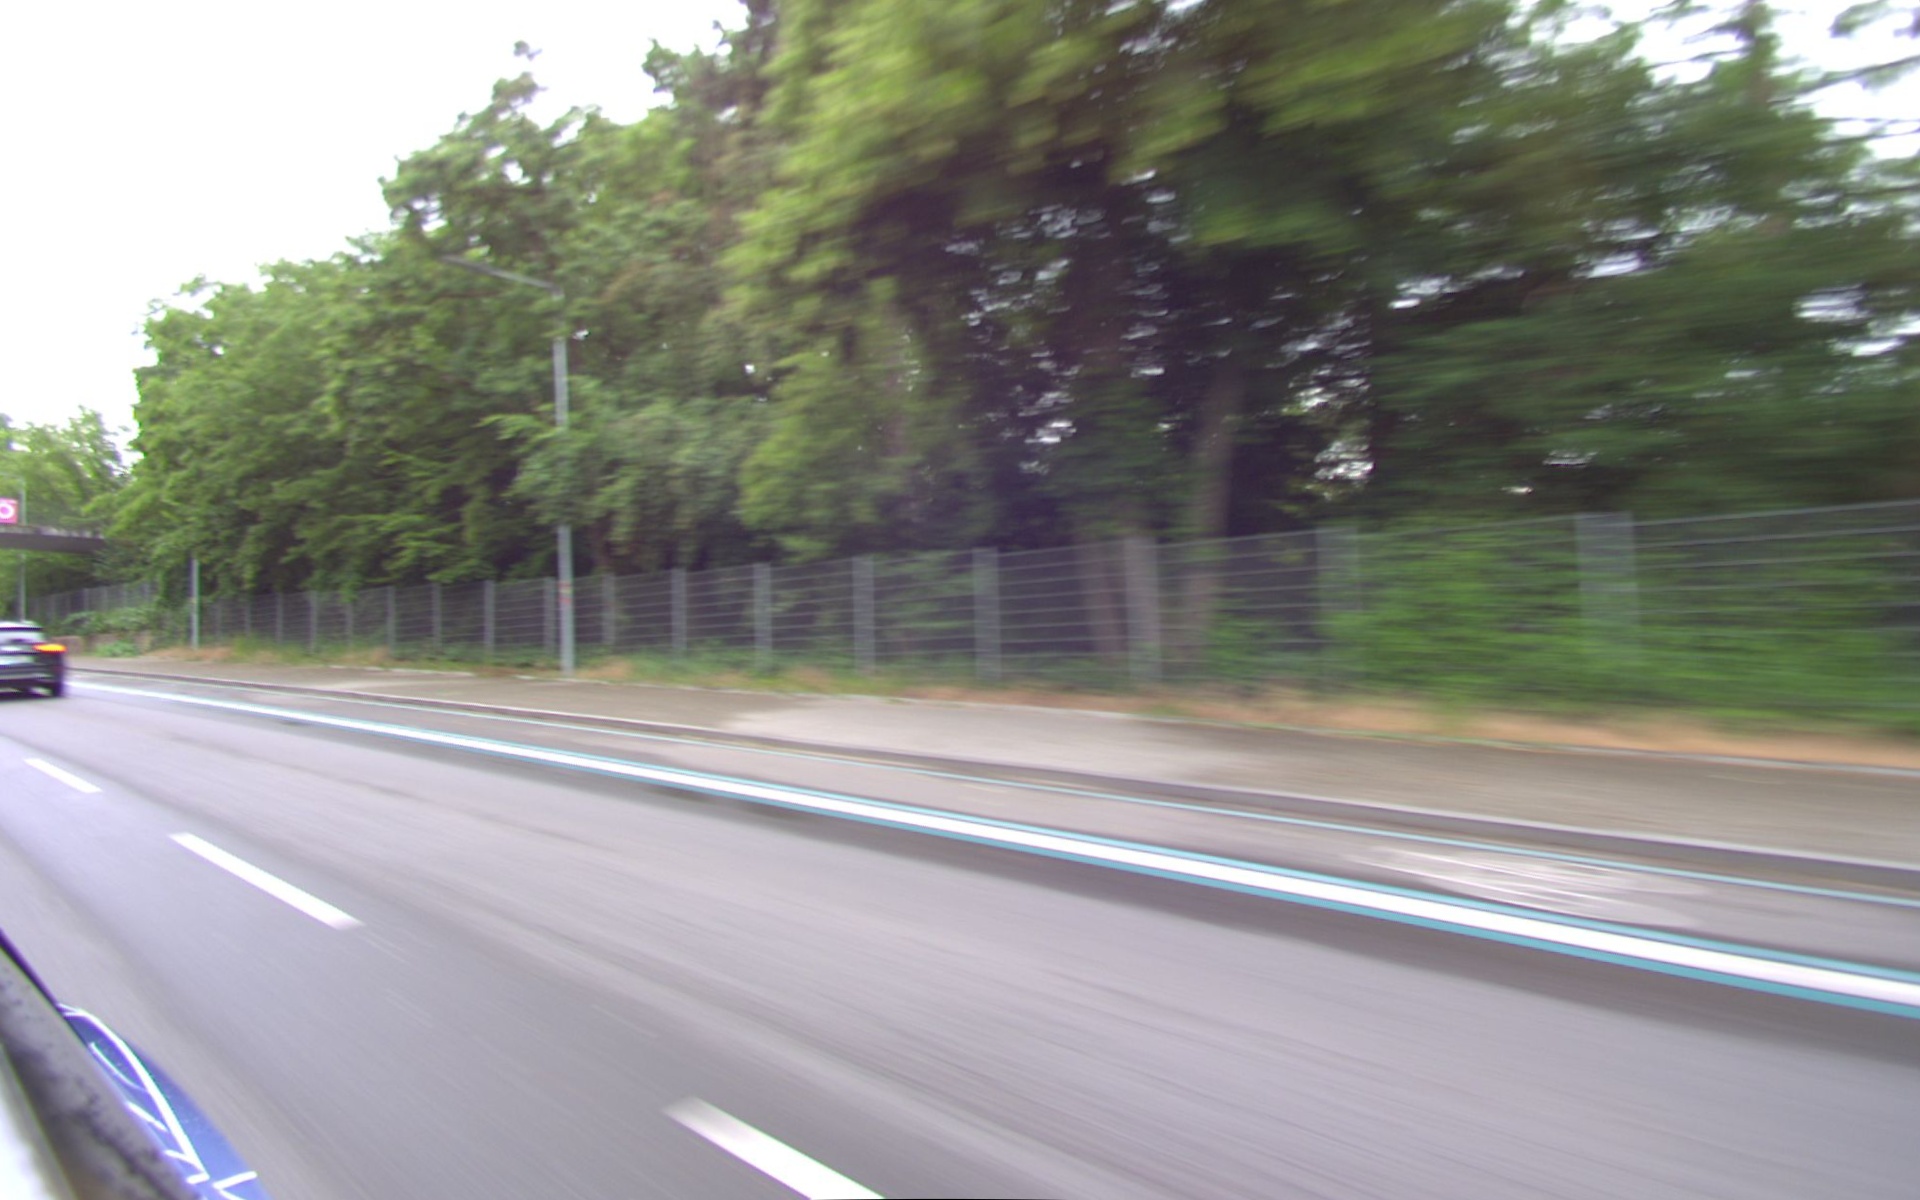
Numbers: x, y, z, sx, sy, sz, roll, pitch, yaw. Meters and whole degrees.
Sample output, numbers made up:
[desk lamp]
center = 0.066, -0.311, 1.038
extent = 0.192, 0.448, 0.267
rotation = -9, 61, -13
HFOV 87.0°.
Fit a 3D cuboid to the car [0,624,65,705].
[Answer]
[car]
center = -18.864, 1.214, 19.511
extent = 4.146, 1.448, 1.743
rotation = -2, -1, 39
